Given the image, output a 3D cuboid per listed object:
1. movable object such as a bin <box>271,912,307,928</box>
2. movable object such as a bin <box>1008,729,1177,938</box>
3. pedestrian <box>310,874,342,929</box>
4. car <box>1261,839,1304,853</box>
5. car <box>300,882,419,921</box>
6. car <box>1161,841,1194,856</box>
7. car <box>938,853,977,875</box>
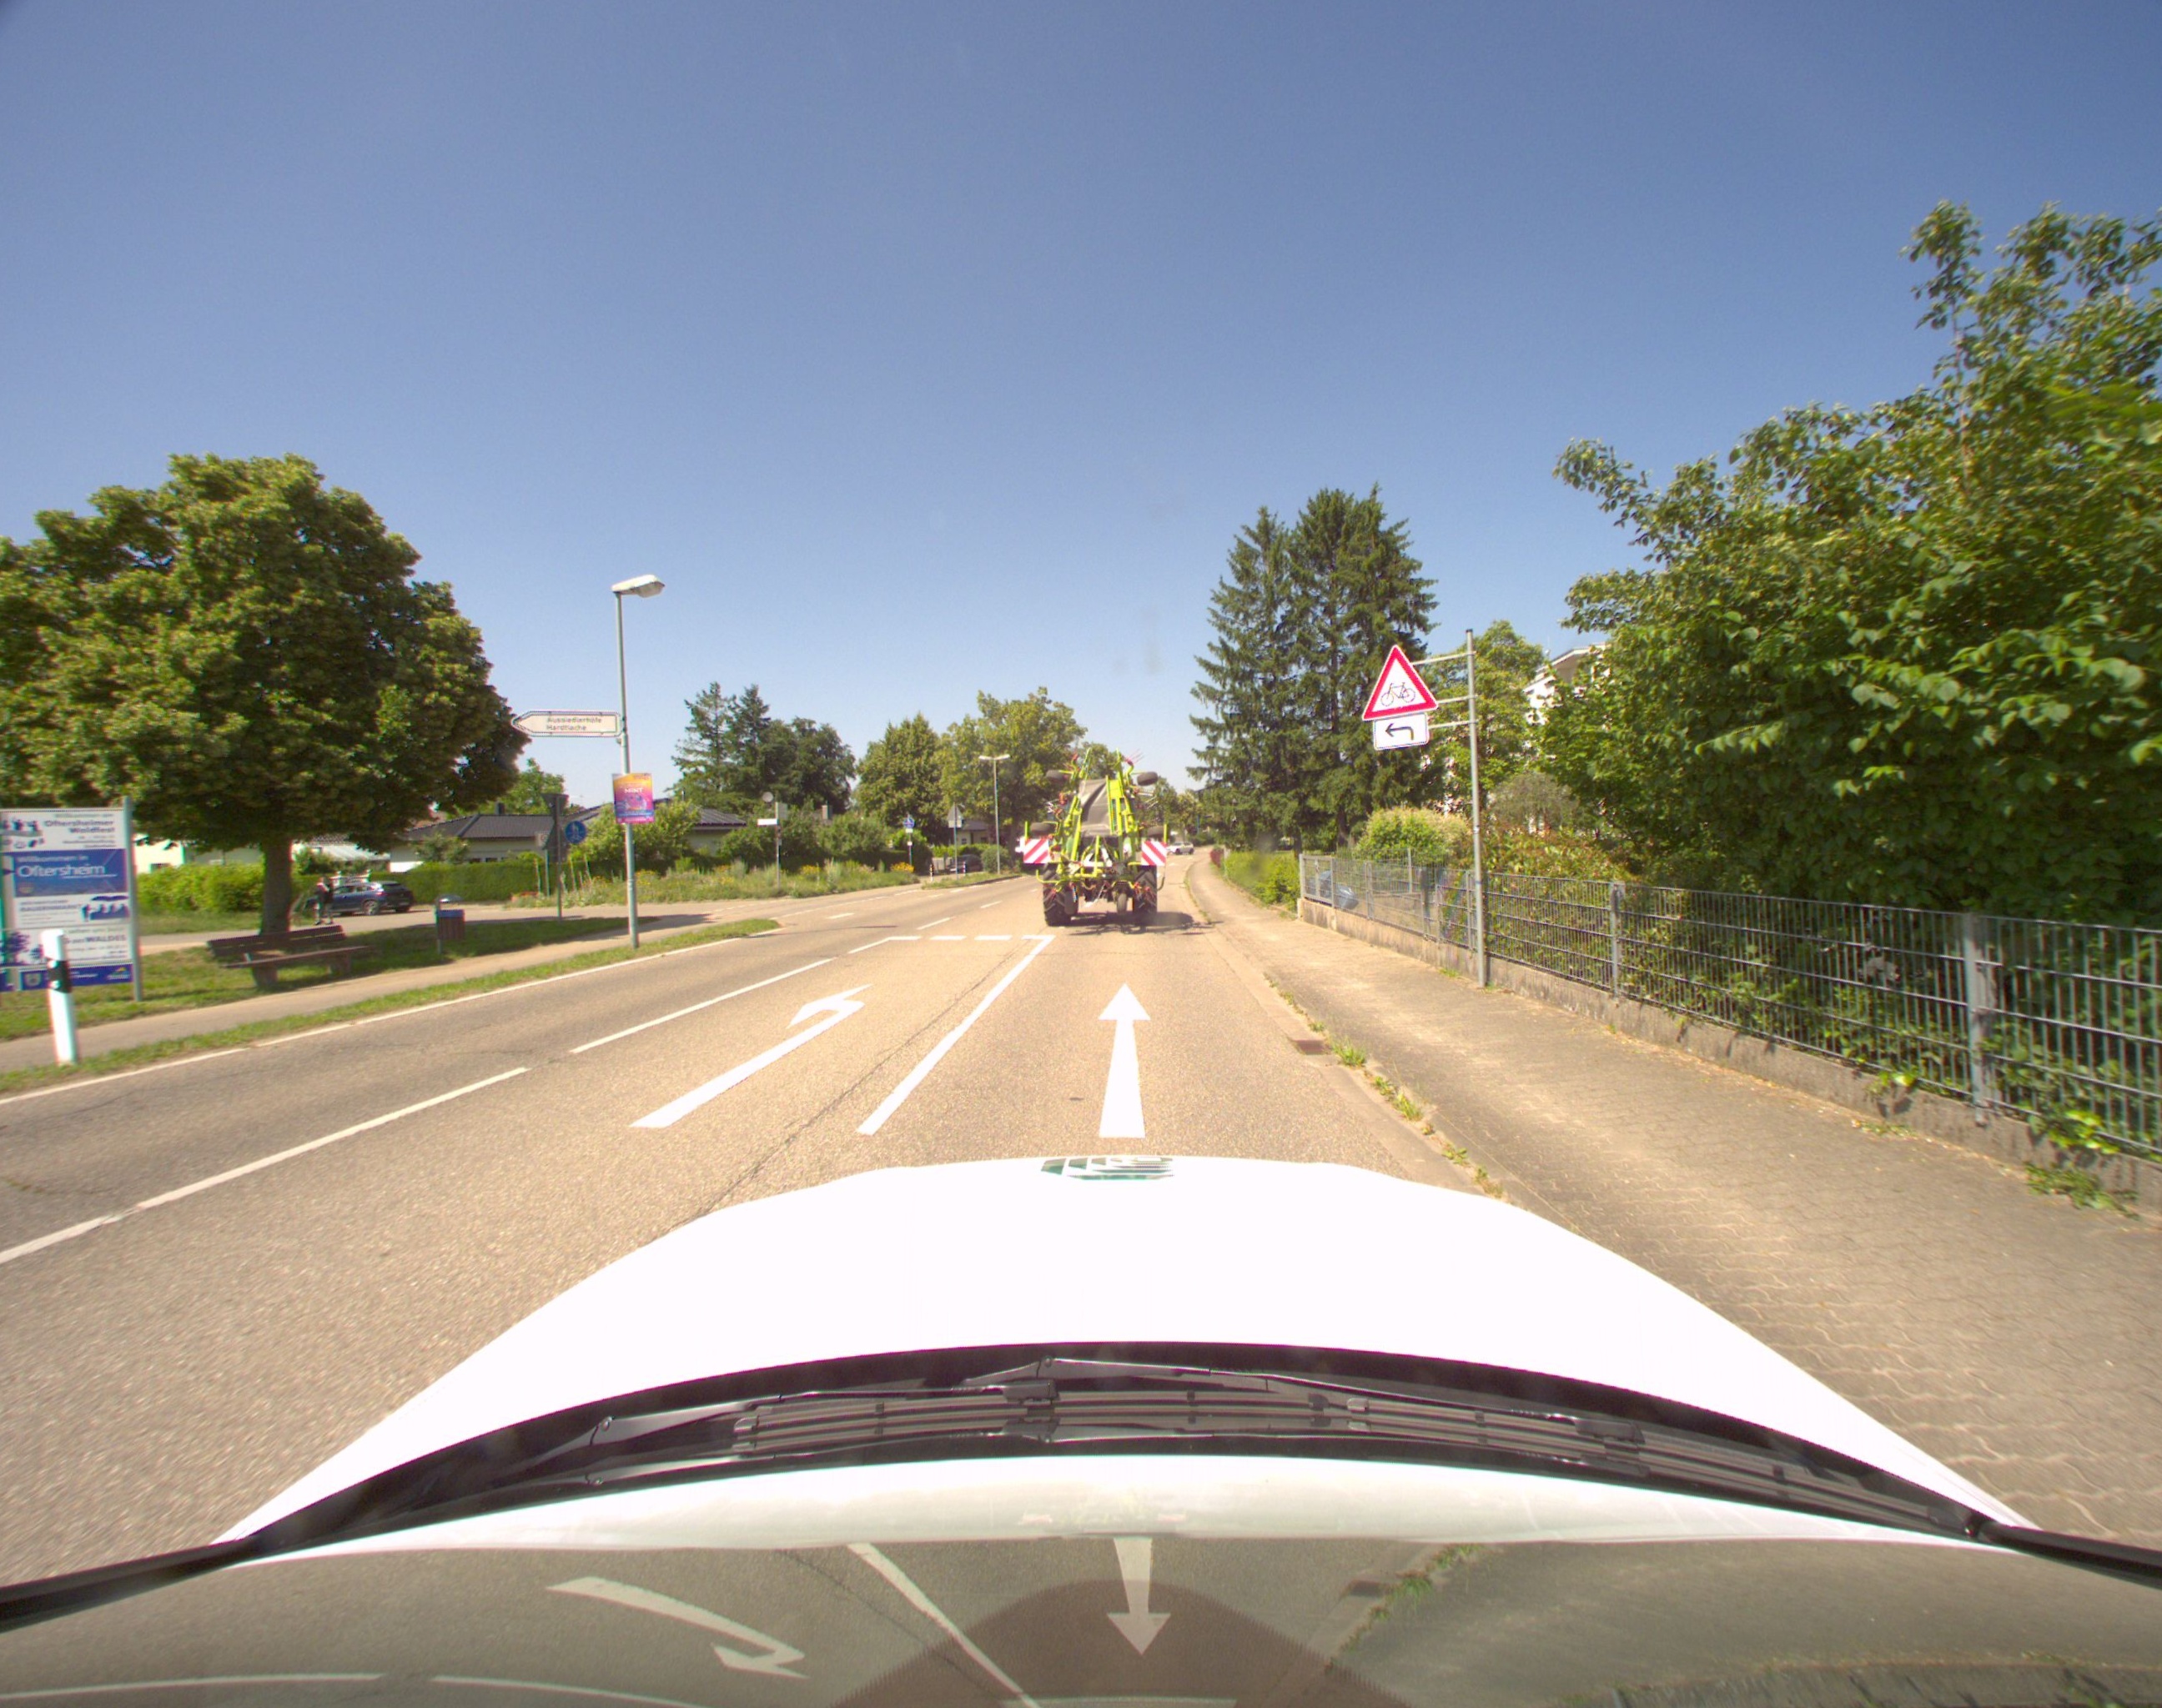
[{"bbox_3d":[-24.168,1.999,24.867,0.316,0.410,0.769,-2,0,42],"label":"movable object such as a bin"},{"bbox_3d":[0.581,-0.376,18.989,2.840,3.541,9.713,-2,0,4],"label":"movable object such as a bin"},{"bbox_3d":[-24.252,1.500,26.176,0.552,1.716,0.670,-2,0,-28],"label":"pedestrian"},{"bbox_3d":[19.766,-0.760,80.044,3.808,1.294,1.680,-1,0,-8],"label":"car"},{"bbox_3d":[-34.499,2.249,39.026,3.971,1.518,1.883,-3,2,2],"label":"car"},{"bbox_3d":[11.508,-0.679,97.002,1.839,1.715,4.025,-1,0,43],"label":"car"},{"bbox_3d":[-9.456,0.745,62.635,1.677,1.530,4.012,-1,0,11],"label":"car"}]
